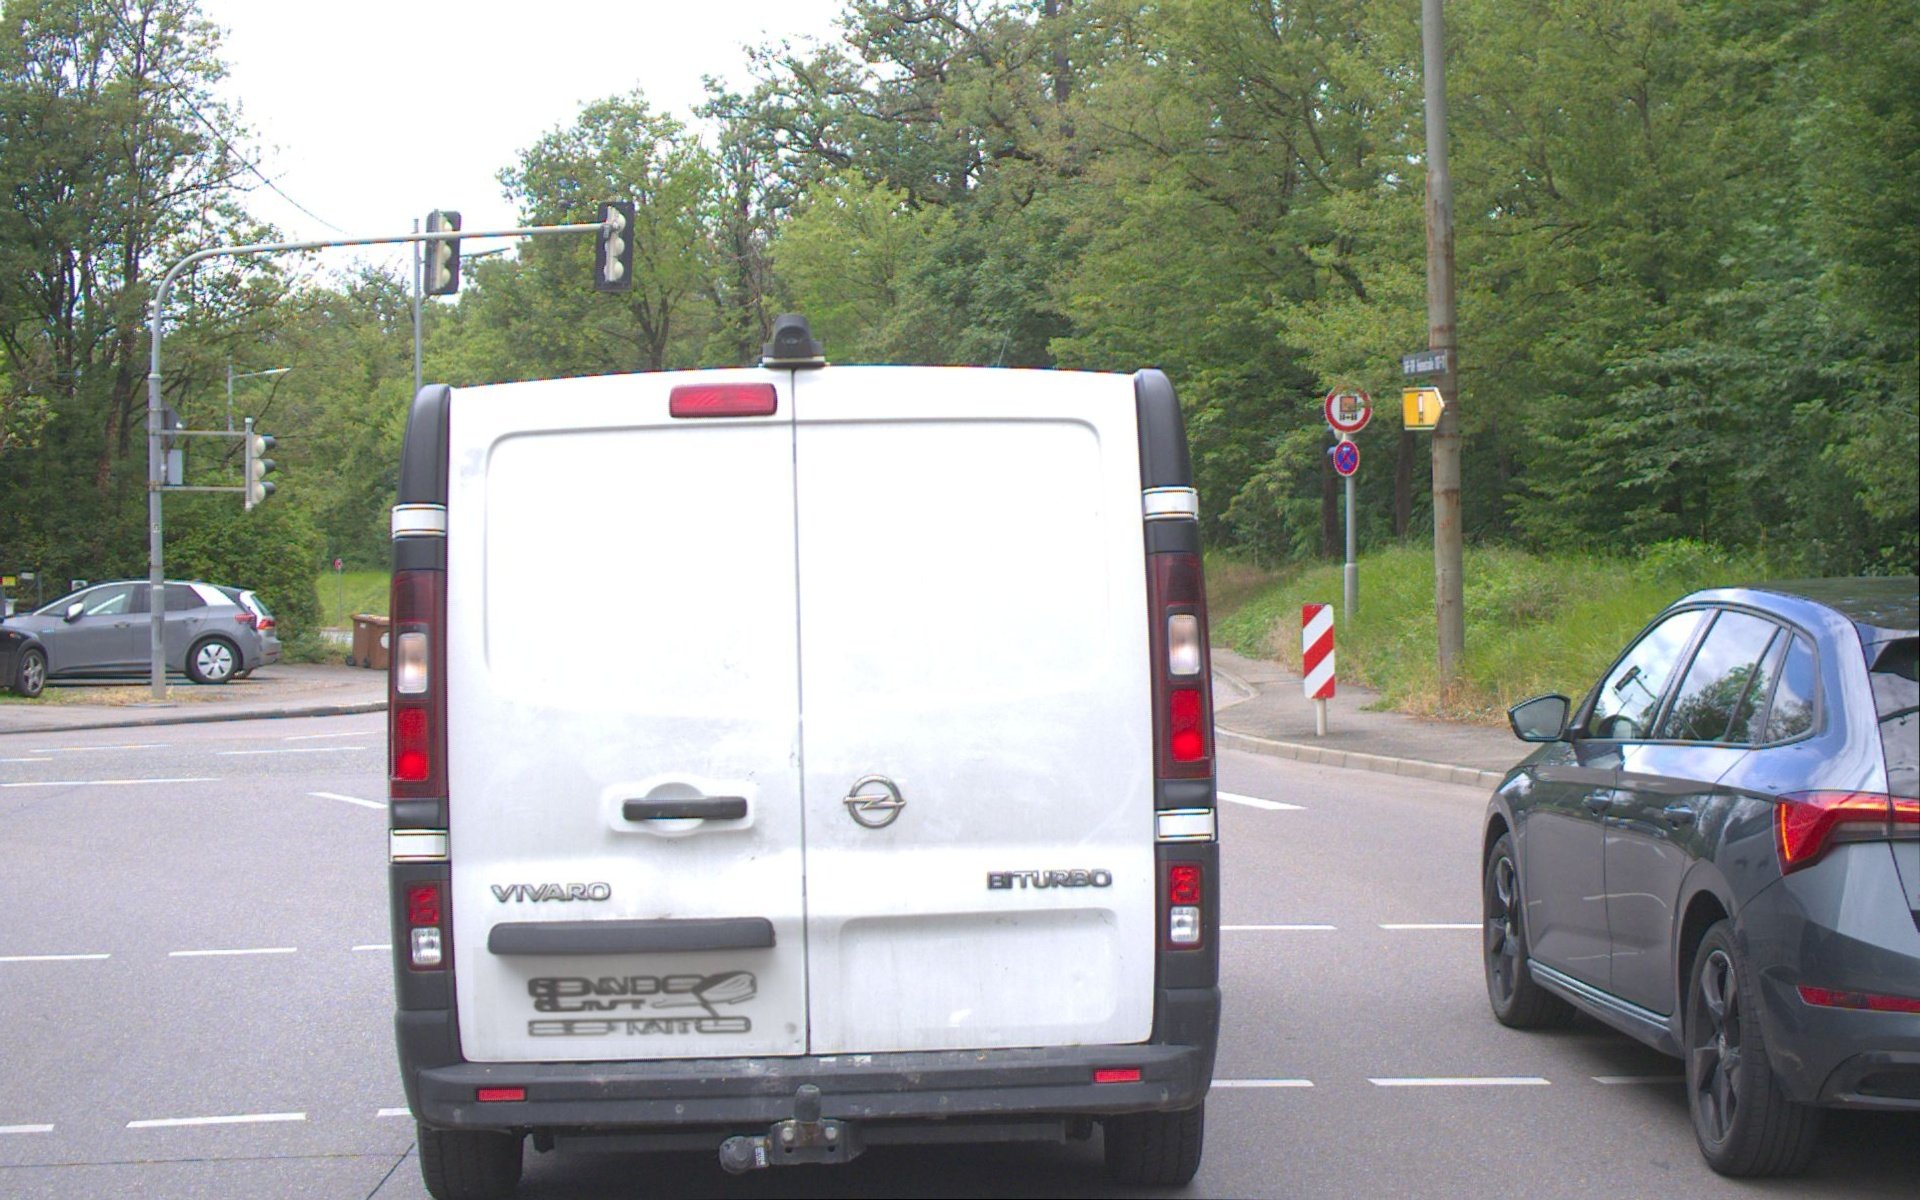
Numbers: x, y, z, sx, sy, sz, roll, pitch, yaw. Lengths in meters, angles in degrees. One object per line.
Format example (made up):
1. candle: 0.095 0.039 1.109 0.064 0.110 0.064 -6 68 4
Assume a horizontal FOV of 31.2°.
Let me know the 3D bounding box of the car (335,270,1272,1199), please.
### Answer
1. car: -0.429 0.327 9.500 1.916 2.046 4.615 1 1 -3

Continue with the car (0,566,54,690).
1. car: -12.306 0.310 39.931 1.699 1.444 3.539 2 1 20

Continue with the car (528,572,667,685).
1. car: -5.080 0.369 48.615 1.856 1.501 4.001 0 1 -5

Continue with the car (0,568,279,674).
1. car: -12.719 0.300 53.207 4.085 1.548 1.855 -1 1 -17

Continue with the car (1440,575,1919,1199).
1. car: 2.555 0.670 9.508 1.792 1.445 4.000 0 1 -2

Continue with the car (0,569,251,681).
1. car: -12.525 0.345 50.194 4.085 1.548 1.855 -1 1 -17
